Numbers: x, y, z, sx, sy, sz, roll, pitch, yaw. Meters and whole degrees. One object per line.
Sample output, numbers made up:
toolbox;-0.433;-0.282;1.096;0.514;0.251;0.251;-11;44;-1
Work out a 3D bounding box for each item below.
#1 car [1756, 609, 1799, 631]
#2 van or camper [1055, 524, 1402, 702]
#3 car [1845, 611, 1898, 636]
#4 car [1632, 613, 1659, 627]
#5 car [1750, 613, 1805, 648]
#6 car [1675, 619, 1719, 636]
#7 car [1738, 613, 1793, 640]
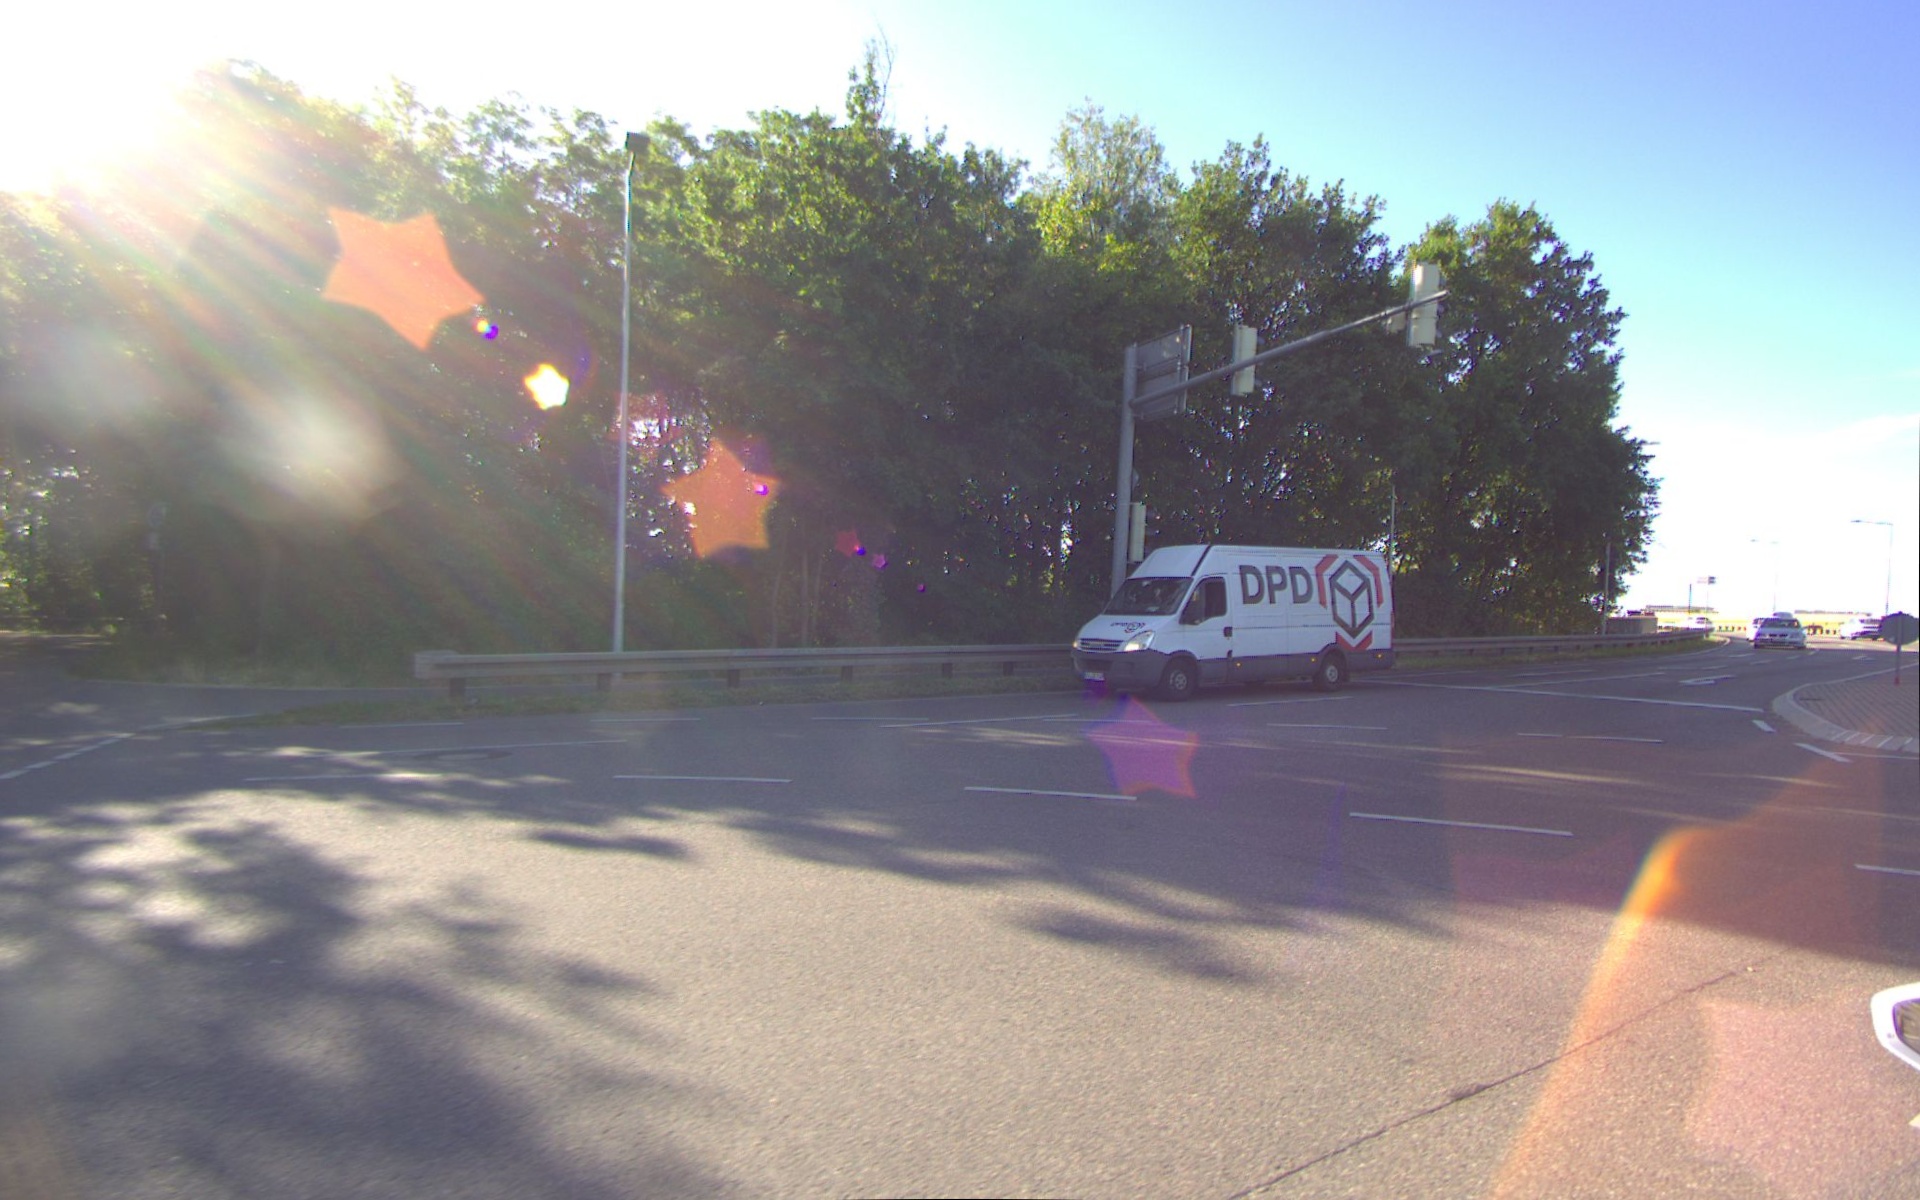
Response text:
car;67.459;1.616;82.949;1.939;1.721;3.994;1;0;28
van or camper;5.015;0.264;18.063;6.862;2.709;2.037;1;-1;-34
car;57.575;1.458;63.496;1.943;1.494;4.140;1;1;35
car;76.874;2.234;112.713;1.380;1.471;3.352;1;0;14
car;37.198;1.353;45.768;1.846;1.494;3.892;1;1;39
car;72.715;2.683;99.215;2.228;1.528;4.001;2;0;16
car;47.031;1.522;58.722;2.067;1.409;4.398;1;0;33
